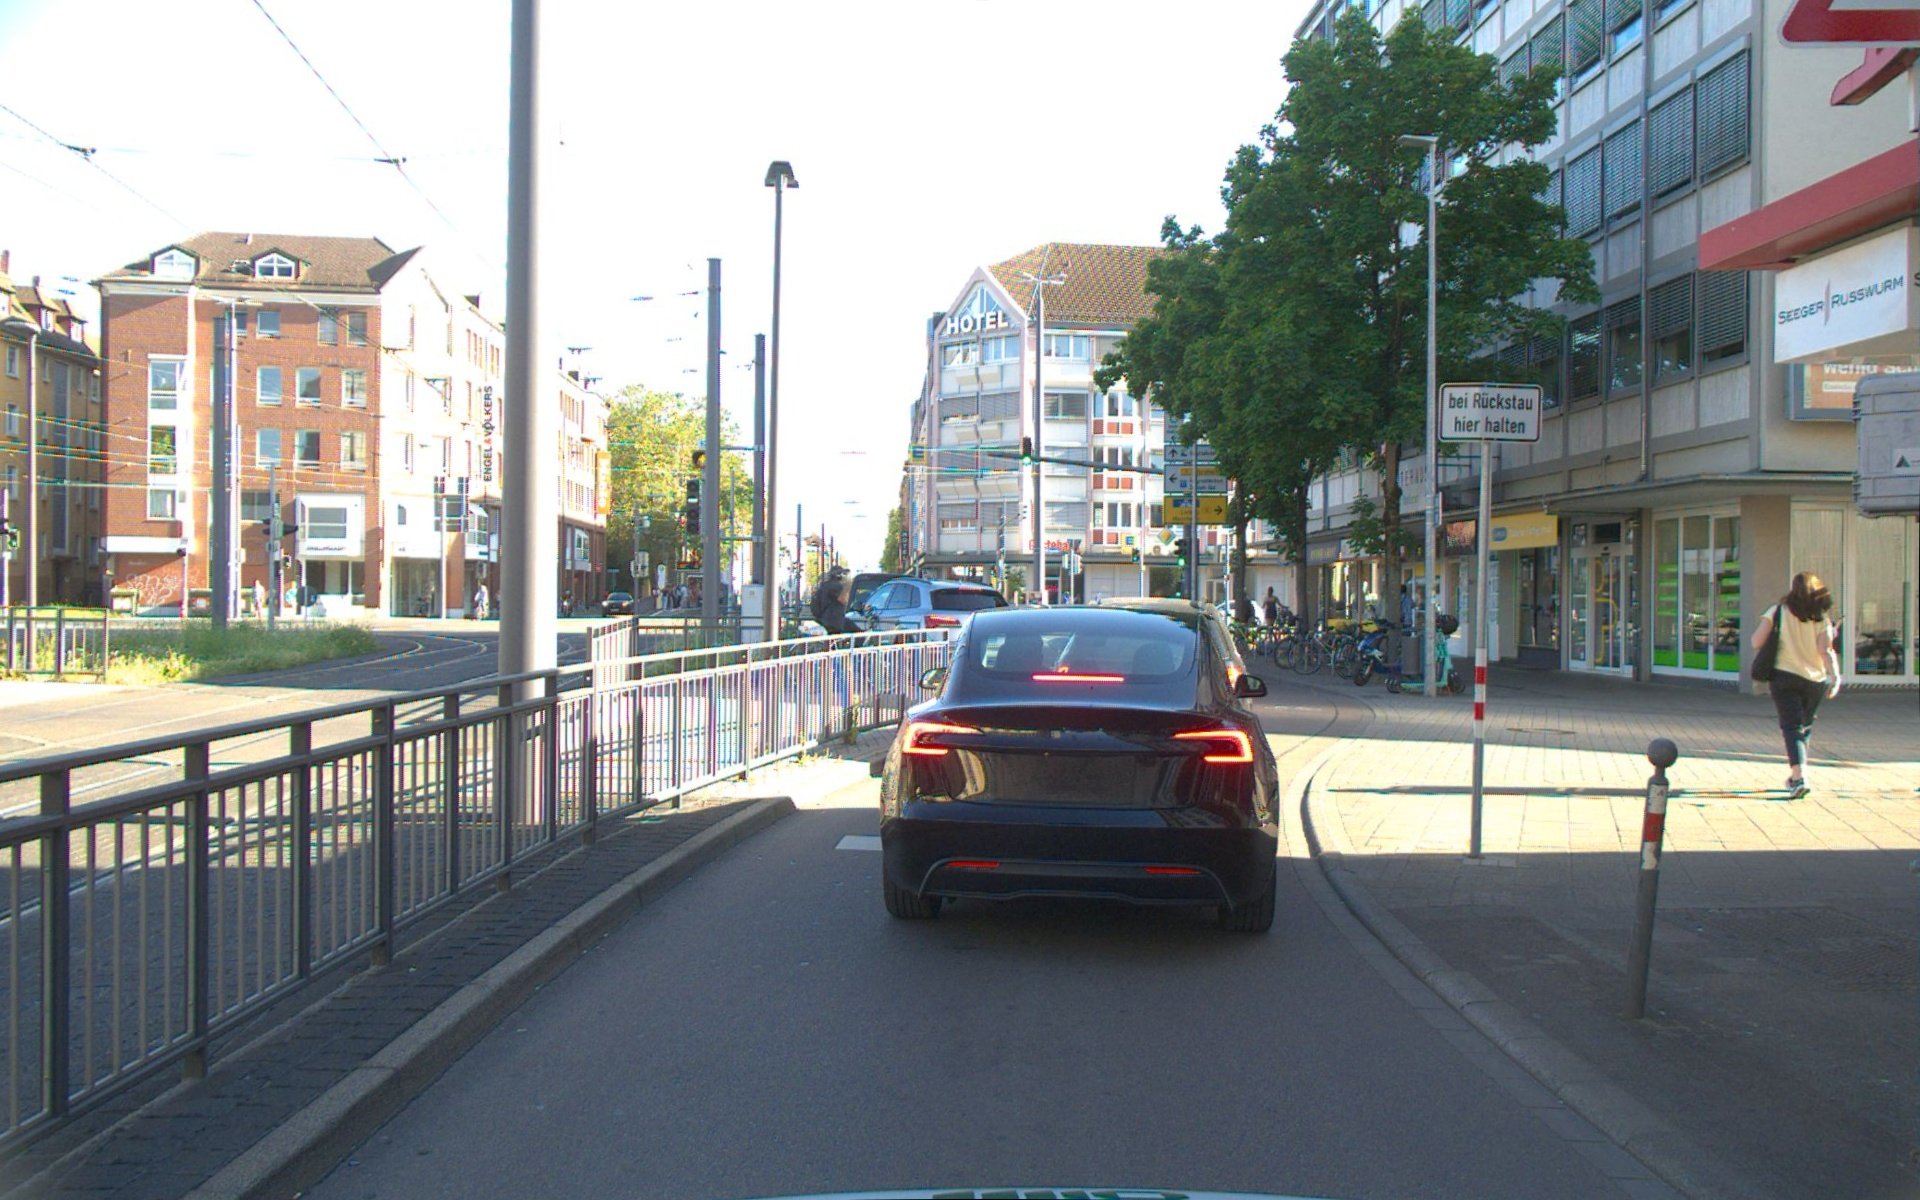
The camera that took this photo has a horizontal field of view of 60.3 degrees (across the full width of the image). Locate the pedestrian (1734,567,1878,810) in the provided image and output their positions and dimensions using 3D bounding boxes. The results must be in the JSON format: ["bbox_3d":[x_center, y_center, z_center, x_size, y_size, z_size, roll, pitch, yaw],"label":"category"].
[{"bbox_3d":[6.503,0.642,12.766,0.895,1.783,1.038,0,0,22],"label":"pedestrian"}]

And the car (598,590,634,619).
[{"bbox_3d":[-21.995,0.288,105.743,1.663,1.762,3.704,1,0,-3],"label":"car"}]

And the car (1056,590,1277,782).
[{"bbox_3d":[1.817,0.664,15.032,1.714,1.480,4.003,1,0,6],"label":"car"}]

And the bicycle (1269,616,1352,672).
[{"bbox_3d":[7.094,0.887,33.496,1.620,1.118,0.349,1,-1,-11],"label":"bicycle"}]

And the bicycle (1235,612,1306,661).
[{"bbox_3d":[7.397,0.867,39.428,1.616,1.118,0.350,1,-1,1],"label":"bicycle"}]

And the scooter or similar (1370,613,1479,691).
[{"bbox_3d":[7.661,0.840,27.294,1.610,1.236,0.644,1,-1,30],"label":"scooter or similar"}]

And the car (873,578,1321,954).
[{"bbox_3d":[0.693,0.677,8.713,1.791,1.481,4.002,1,0,4],"label":"car"}]

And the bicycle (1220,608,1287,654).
[{"bbox_3d":[7.360,0.776,41.488,1.616,1.118,0.350,0,0,1],"label":"bicycle"}]

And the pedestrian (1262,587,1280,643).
[{"bbox_3d":[9.776,0.464,51.991,0.515,1.740,0.403,1,-1,15],"label":"pedestrian"}]

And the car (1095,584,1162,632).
[{"bbox_3d":[6.024,0.285,58.838,1.782,1.643,3.829,1,0,14],"label":"car"}]

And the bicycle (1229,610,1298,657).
[{"bbox_3d":[7.425,0.820,40.442,1.616,1.118,0.350,1,-1,1],"label":"bicycle"}]

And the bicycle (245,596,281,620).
[{"bbox_3d":[-28.380,0.325,67.342,0.513,0.988,2.246,1,0,-1],"label":"bicycle"}]

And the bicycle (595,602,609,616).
[{"bbox_3d":[-28.853,0.698,133.316,0.518,1.107,2.225,1,0,1],"label":"bicycle"}]

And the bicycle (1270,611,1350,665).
[{"bbox_3d":[7.498,0.811,35.451,1.616,1.118,0.350,1,-1,1],"label":"bicycle"}]

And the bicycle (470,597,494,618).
[{"bbox_3d":[-25.922,0.429,89.756,0.526,1.107,2.225,1,0,3],"label":"bicycle"}]

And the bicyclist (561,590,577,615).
[{"bbox_3d":[-24.110,0.164,102.021,0.769,1.554,0.589,1,-1,3],"label":"bicyclist"}]

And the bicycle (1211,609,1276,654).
[{"bbox_3d":[7.290,0.801,42.580,1.616,1.118,0.350,1,-1,1],"label":"bicycle"}]

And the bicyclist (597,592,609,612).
[{"bbox_3d":[-28.798,0.156,133.533,0.767,1.590,0.746,1,-1,1],"label":"bicyclist"}]

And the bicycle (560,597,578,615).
[{"bbox_3d":[-24.104,0.386,102.101,0.449,1.112,2.202,1,0,3],"label":"bicycle"}]

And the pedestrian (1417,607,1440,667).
[{"bbox_3d":[10.685,0.838,37.741,0.381,1.367,0.513,1,-1,1],"label":"pedestrian"}]

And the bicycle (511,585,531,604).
[{"bbox_3d":[-26.125,-0.348,98.527,0.518,1.107,2.284,1,0,1],"label":"bicycle"}]

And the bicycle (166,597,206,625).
[{"bbox_3d":[-28.288,0.388,60.469,0.437,0.988,2.246,1,0,-1],"label":"bicycle"}]

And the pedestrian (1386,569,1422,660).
[{"bbox_3d":[10.161,0.327,37.888,0.648,2.049,0.579,1,-1,1],"label":"pedestrian"}]

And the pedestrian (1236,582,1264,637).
[{"bbox_3d":[9.092,0.290,51.858,0.685,1.691,0.777,1,-1,-1],"label":"pedestrian"}]

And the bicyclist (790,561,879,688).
[{"bbox_3d":[-1.687,0.324,22.179,0.753,1.657,0.964,1,-1,-39],"label":"bicyclist"}]

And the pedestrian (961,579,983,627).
[{"bbox_3d":[0.517,0.133,72.852,0.902,2.049,0.972,1,-1,-1],"label":"pedestrian"}]

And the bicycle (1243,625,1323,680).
[{"bbox_3d":[6.697,1.082,34.308,1.620,1.118,0.349,1,-1,-11],"label":"bicycle"}]

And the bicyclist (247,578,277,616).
[{"bbox_3d":[-28.398,-0.112,67.307,0.880,1.529,0.696,1,-1,-1],"label":"bicyclist"}]

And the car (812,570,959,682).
[{"bbox_3d":[-1.536,0.487,32.551,1.962,2.049,3.981,0,0,-17],"label":"car"}]

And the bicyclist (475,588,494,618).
[{"bbox_3d":[-25.859,0.177,90.012,0.767,1.590,0.747,1,-1,3],"label":"bicyclist"}]

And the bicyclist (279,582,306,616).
[{"bbox_3d":[-29.704,-0.036,73.640,0.689,1.496,0.973,1,0,7],"label":"bicyclist"}]

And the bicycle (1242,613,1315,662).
[{"bbox_3d":[7.381,0.866,38.401,1.616,1.118,0.350,1,-1,1],"label":"bicycle"}]

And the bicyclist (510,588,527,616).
[{"bbox_3d":[-26.118,0.116,97.807,0.767,1.590,0.746,0,0,1],"label":"bicyclist"}]

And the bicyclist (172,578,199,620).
[{"bbox_3d":[-28.276,-0.031,60.392,0.620,1.529,0.696,1,-1,-1],"label":"bicyclist"}]

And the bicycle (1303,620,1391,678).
[{"bbox_3d":[7.381,0.932,31.549,1.620,1.079,0.349,1,-1,-11],"label":"bicycle"}]

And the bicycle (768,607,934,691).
[{"bbox_3d":[-1.453,0.653,22.398,2.313,1.072,0.622,1,-1,-39],"label":"bicycle"}]

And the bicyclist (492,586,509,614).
[{"bbox_3d":[-26.200,-0.026,94.345,0.767,1.590,0.746,0,0,1],"label":"bicyclist"}]

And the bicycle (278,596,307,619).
[{"bbox_3d":[-29.697,0.333,73.613,0.396,0.998,1.695,1,0,7],"label":"bicycle"}]

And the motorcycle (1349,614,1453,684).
[{"bbox_3d":[7.808,0.868,29.318,1.673,1.194,0.541,1,-1,-3],"label":"motorcycle"}]

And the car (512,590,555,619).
[{"bbox_3d":[-23.682,0.252,91.886,1.677,1.553,4.031,1,0,-5],"label":"car"}]

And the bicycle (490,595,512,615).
[{"bbox_3d":[-26.161,0.309,94.325,0.518,1.107,2.284,2,0,1],"label":"bicycle"}]

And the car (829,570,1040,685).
[{"bbox_3d":[-0.500,0.410,26.481,1.859,1.691,4.125,1,0,-25],"label":"car"}]

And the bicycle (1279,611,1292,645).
[{"bbox_3d":[10.152,0.871,51.584,0.325,1.052,1.257,1,0,9],"label":"bicycle"}]

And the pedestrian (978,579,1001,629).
[{"bbox_3d":[1.202,0.157,68.218,0.902,2.049,0.972,1,-1,-1],"label":"pedestrian"}]

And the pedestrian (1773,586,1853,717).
[{"bbox_3d":[11.348,0.667,22.036,0.871,1.696,0.808,1,-1,23],"label":"pedestrian"}]

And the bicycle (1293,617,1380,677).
[{"bbox_3d":[7.277,0.910,31.971,1.620,1.118,0.349,1,-1,-11],"label":"bicycle"}]

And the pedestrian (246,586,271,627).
[{"bbox_3d":[-32.235,0.307,76.023,0.767,1.852,0.746,1,-1,1],"label":"pedestrian"}]

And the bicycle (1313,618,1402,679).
[{"bbox_3d":[7.477,0.918,31.129,1.620,1.118,0.349,1,-1,-11],"label":"bicycle"}]
